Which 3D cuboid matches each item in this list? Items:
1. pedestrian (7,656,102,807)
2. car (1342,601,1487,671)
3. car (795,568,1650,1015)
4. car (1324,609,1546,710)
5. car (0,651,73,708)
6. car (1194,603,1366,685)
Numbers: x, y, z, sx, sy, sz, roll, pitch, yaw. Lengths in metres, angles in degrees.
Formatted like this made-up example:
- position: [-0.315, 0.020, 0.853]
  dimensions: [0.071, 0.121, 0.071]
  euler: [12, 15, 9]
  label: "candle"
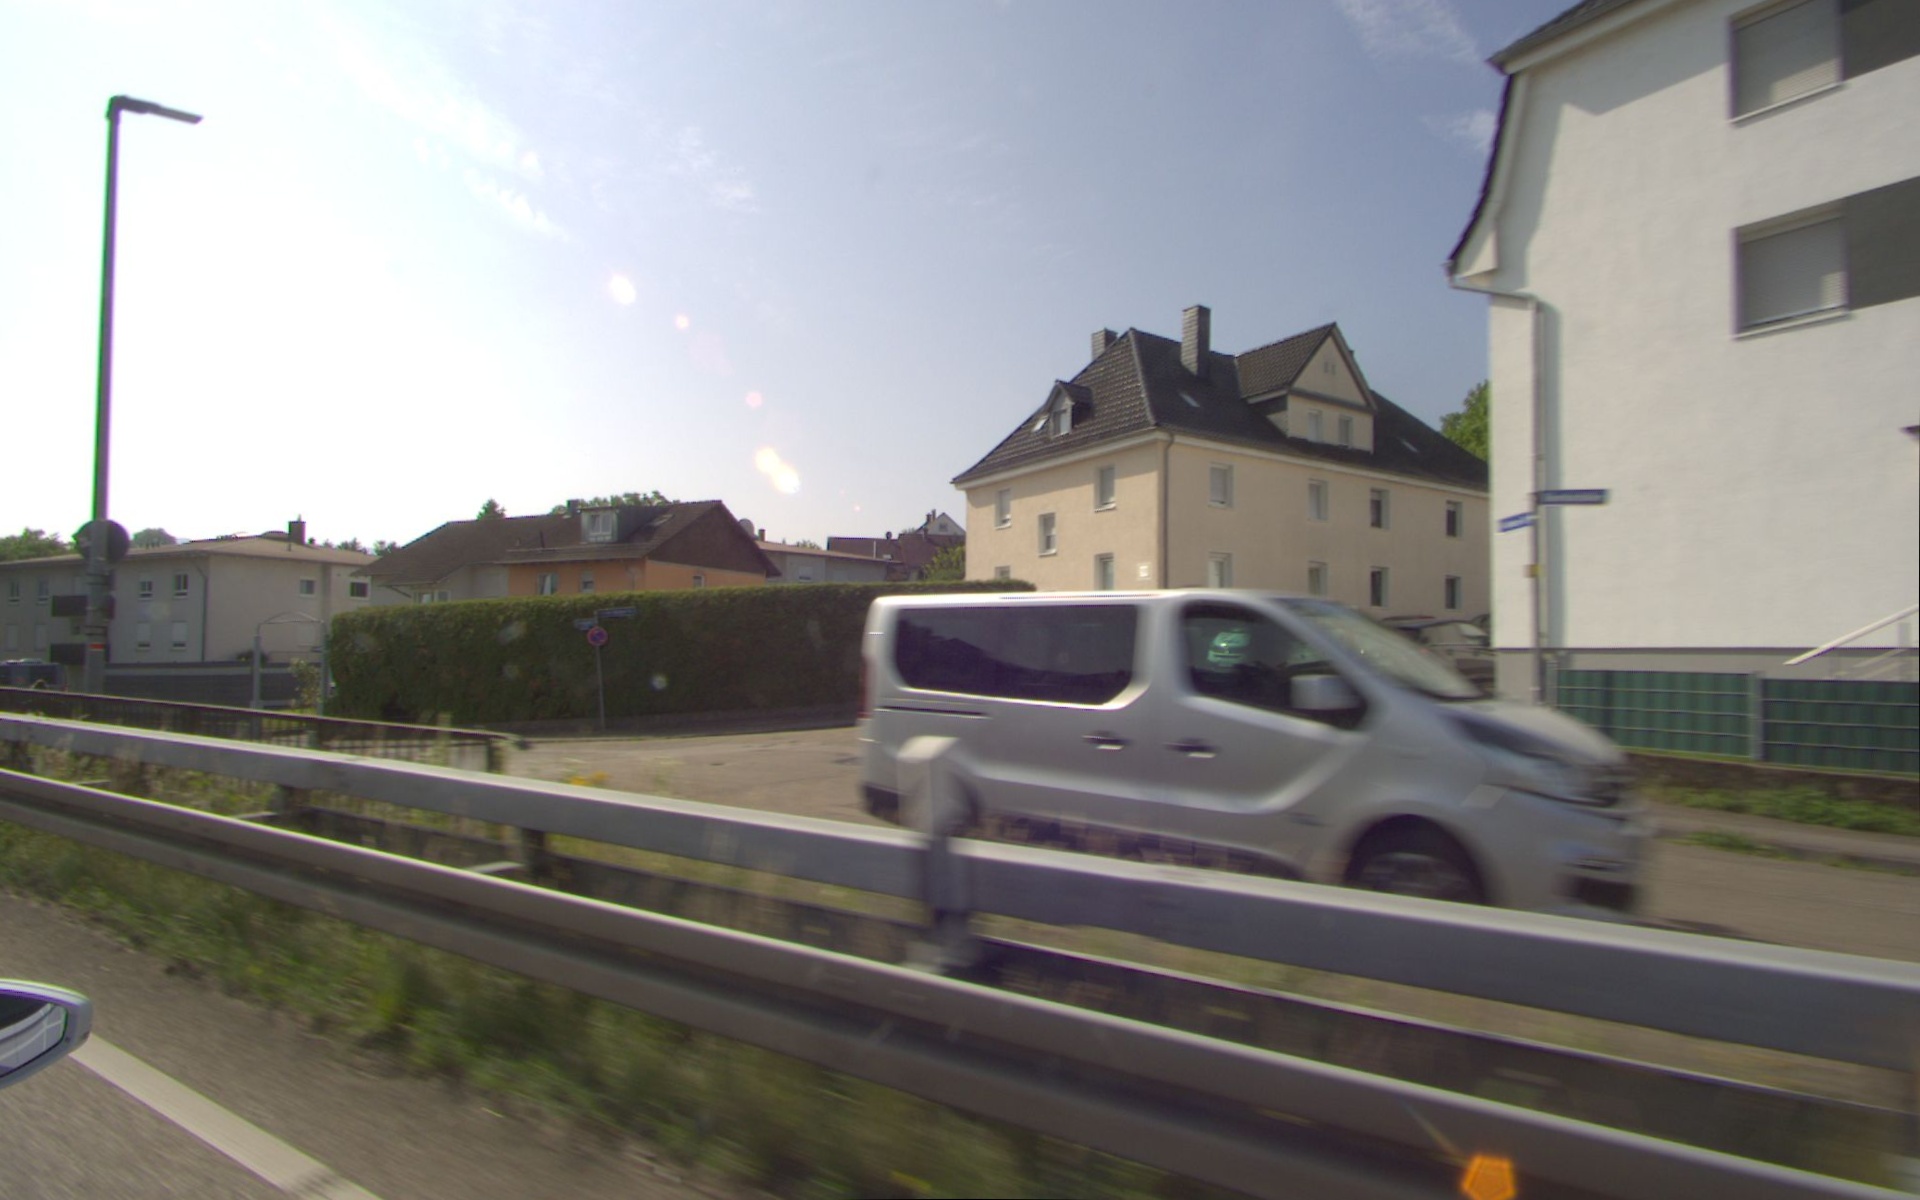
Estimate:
- position: [-12.981, 1.838, 14.353]
  dimensions: [0.984, 2.039, 0.786]
  euler: [0, -1, 35]
  label: "pedestrian"
- position: [14.634, 1.115, 32.133]
  dimensions: [4.774, 2.010, 1.949]
  euler: [-2, -1, -33]
  label: "car"
- position: [1.454, 0.902, 6.809]
  dimensions: [5.292, 1.970, 1.987]
  euler: [-1, -2, 37]
  label: "car"
- position: [9.273, 1.140, 19.505]
  dimensions: [3.944, 1.684, 1.991]
  euler: [-2, -4, -32]
  label: "car"
- position: [-47.839, 3.931, 49.083]
  dimensions: [2.279, 2.719, 6.071]
  euler: [-4, -5, 29]
  label: "car"
- position: [8.962, 1.164, 27.908]
  dimensions: [4.774, 2.010, 1.949]
  euler: [-2, -1, -33]
  label: "car"
